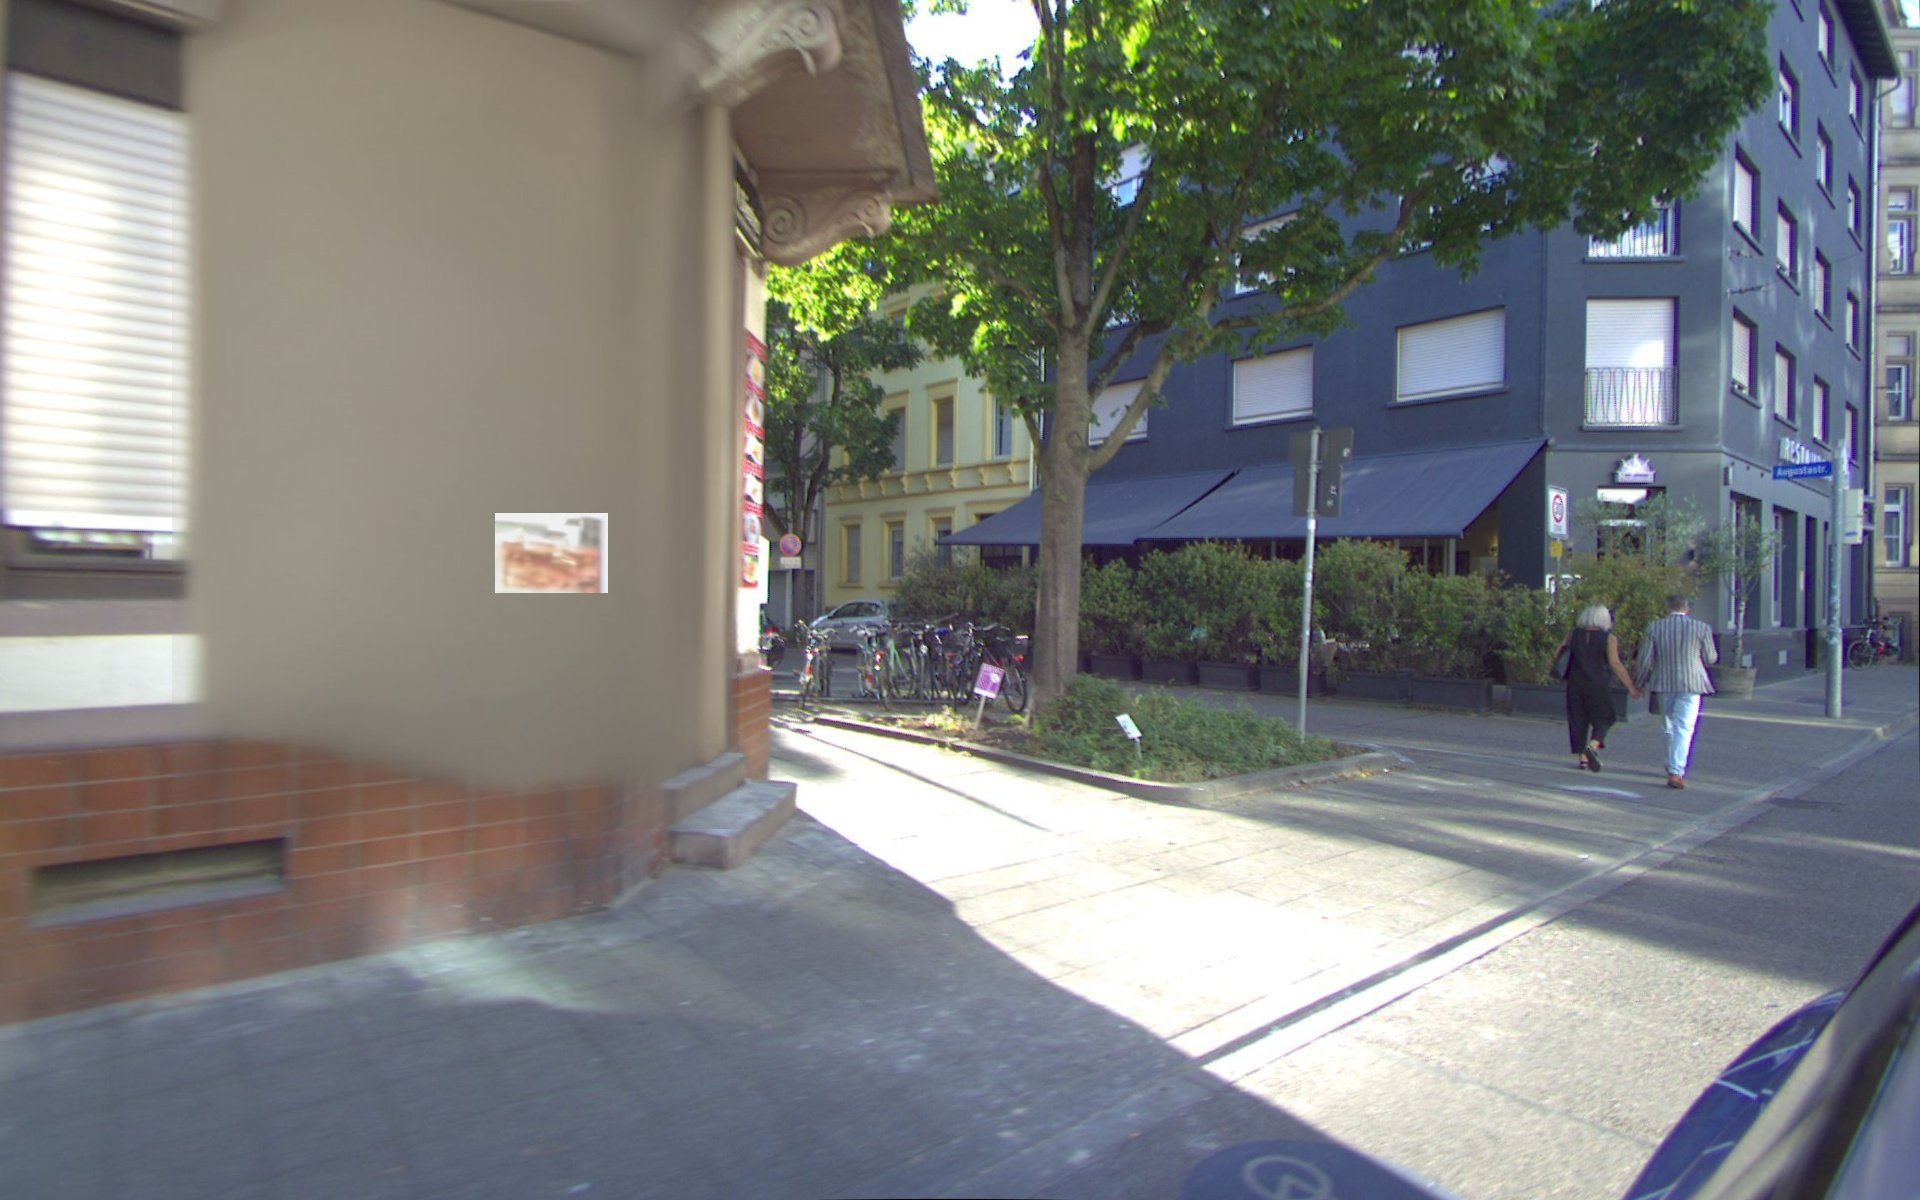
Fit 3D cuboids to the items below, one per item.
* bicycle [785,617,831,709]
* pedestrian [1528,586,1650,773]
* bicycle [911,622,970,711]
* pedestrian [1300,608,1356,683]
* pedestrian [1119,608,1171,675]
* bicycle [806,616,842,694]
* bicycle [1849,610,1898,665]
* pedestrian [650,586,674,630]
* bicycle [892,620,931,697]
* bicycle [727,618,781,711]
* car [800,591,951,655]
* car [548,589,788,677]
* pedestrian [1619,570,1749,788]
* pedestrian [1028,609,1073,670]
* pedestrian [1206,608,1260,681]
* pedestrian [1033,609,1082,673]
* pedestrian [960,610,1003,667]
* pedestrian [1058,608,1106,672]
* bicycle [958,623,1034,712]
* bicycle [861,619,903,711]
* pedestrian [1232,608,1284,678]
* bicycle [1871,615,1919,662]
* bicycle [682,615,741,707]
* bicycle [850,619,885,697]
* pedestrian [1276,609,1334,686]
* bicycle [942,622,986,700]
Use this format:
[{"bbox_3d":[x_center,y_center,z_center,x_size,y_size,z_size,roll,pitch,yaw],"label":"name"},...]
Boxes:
[{"bbox_3d":[-1.845,0.739,12.433,0.449,1.027,1.620,2,-1,-6],"label":"bicycle"},{"bbox_3d":[5.893,0.709,9.483,0.760,1.622,0.714,2,2,-43],"label":"pedestrian"},{"bbox_3d":[-0.258,0.805,12.692,0.449,1.027,1.327,2,-1,-13],"label":"bicycle"},{"bbox_3d":[6.233,0.760,17.147,0.638,1.219,0.649,1,0,-40],"label":"pedestrian"},{"bbox_3d":[3.630,0.801,19.876,0.638,1.277,0.748,1,0,-40],"label":"pedestrian"},{"bbox_3d":[-1.920,0.760,14.367,0.449,1.027,1.326,2,-1,-6],"label":"bicycle"},{"bbox_3d":[21.882,0.879,24.223,1.875,1.212,0.624,1,2,-42],"label":"bicycle"},{"bbox_3d":[-11.512,0.301,39.053,0.648,1.682,0.640,0,-1,43],"label":"pedestrian"},{"bbox_3d":[-0.716,0.824,14.617,0.449,1.027,1.326,2,-1,-6],"label":"bicycle"},{"bbox_3d":[-2.497,0.752,12.376,0.449,1.027,1.620,2,-1,-6],"label":"bicycle"},{"bbox_3d":[-2.239,0.529,25.990,1.847,1.482,3.992,-1,1,-42],"label":"car"},{"bbox_3d":[-5.266,0.612,18.573,3.999,1.483,1.730,1,-2,-14],"label":"car"},{"bbox_3d":[6.409,0.663,8.962,0.760,1.796,0.714,2,2,-43],"label":"pedestrian"},{"bbox_3d":[1.976,0.844,22.113,0.638,1.277,0.748,1,0,-40],"label":"pedestrian"},{"bbox_3d":[4.786,0.766,17.728,0.638,1.219,0.649,1,0,-40],"label":"pedestrian"},{"bbox_3d":[2.000,0.833,20.834,0.638,1.277,0.748,1,0,-40],"label":"pedestrian"},{"bbox_3d":[0.492,0.877,23.472,0.638,1.277,0.748,1,0,-40],"label":"pedestrian"},{"bbox_3d":[2.555,0.828,21.220,0.638,1.277,0.748,1,0,-40],"label":"pedestrian"},{"bbox_3d":[0.438,0.834,12.877,0.449,1.027,1.327,2,-1,-21],"label":"bicycle"},{"bbox_3d":[-0.992,0.776,12.625,0.449,1.027,1.620,2,-1,-6],"label":"bicycle"},{"bbox_3d":[5.388,0.762,18.312,0.638,1.219,0.649,1,0,-40],"label":"pedestrian"},{"bbox_3d":[23.399,0.948,25.301,1.771,1.083,0.593,1,2,-38],"label":"bicycle"},{"bbox_3d":[-3.035,0.720,12.466,0.449,1.027,1.620,2,-1,-6],"label":"bicycle"},{"bbox_3d":[-1.324,0.800,14.378,0.449,1.027,1.326,2,-1,-6],"label":"bicycle"},{"bbox_3d":[5.669,0.764,16.647,0.638,1.219,0.649,1,0,-40],"label":"pedestrian"},{"bbox_3d":[0.043,0.854,14.561,0.449,1.027,1.326,2,-1,-6],"label":"bicycle"}]
